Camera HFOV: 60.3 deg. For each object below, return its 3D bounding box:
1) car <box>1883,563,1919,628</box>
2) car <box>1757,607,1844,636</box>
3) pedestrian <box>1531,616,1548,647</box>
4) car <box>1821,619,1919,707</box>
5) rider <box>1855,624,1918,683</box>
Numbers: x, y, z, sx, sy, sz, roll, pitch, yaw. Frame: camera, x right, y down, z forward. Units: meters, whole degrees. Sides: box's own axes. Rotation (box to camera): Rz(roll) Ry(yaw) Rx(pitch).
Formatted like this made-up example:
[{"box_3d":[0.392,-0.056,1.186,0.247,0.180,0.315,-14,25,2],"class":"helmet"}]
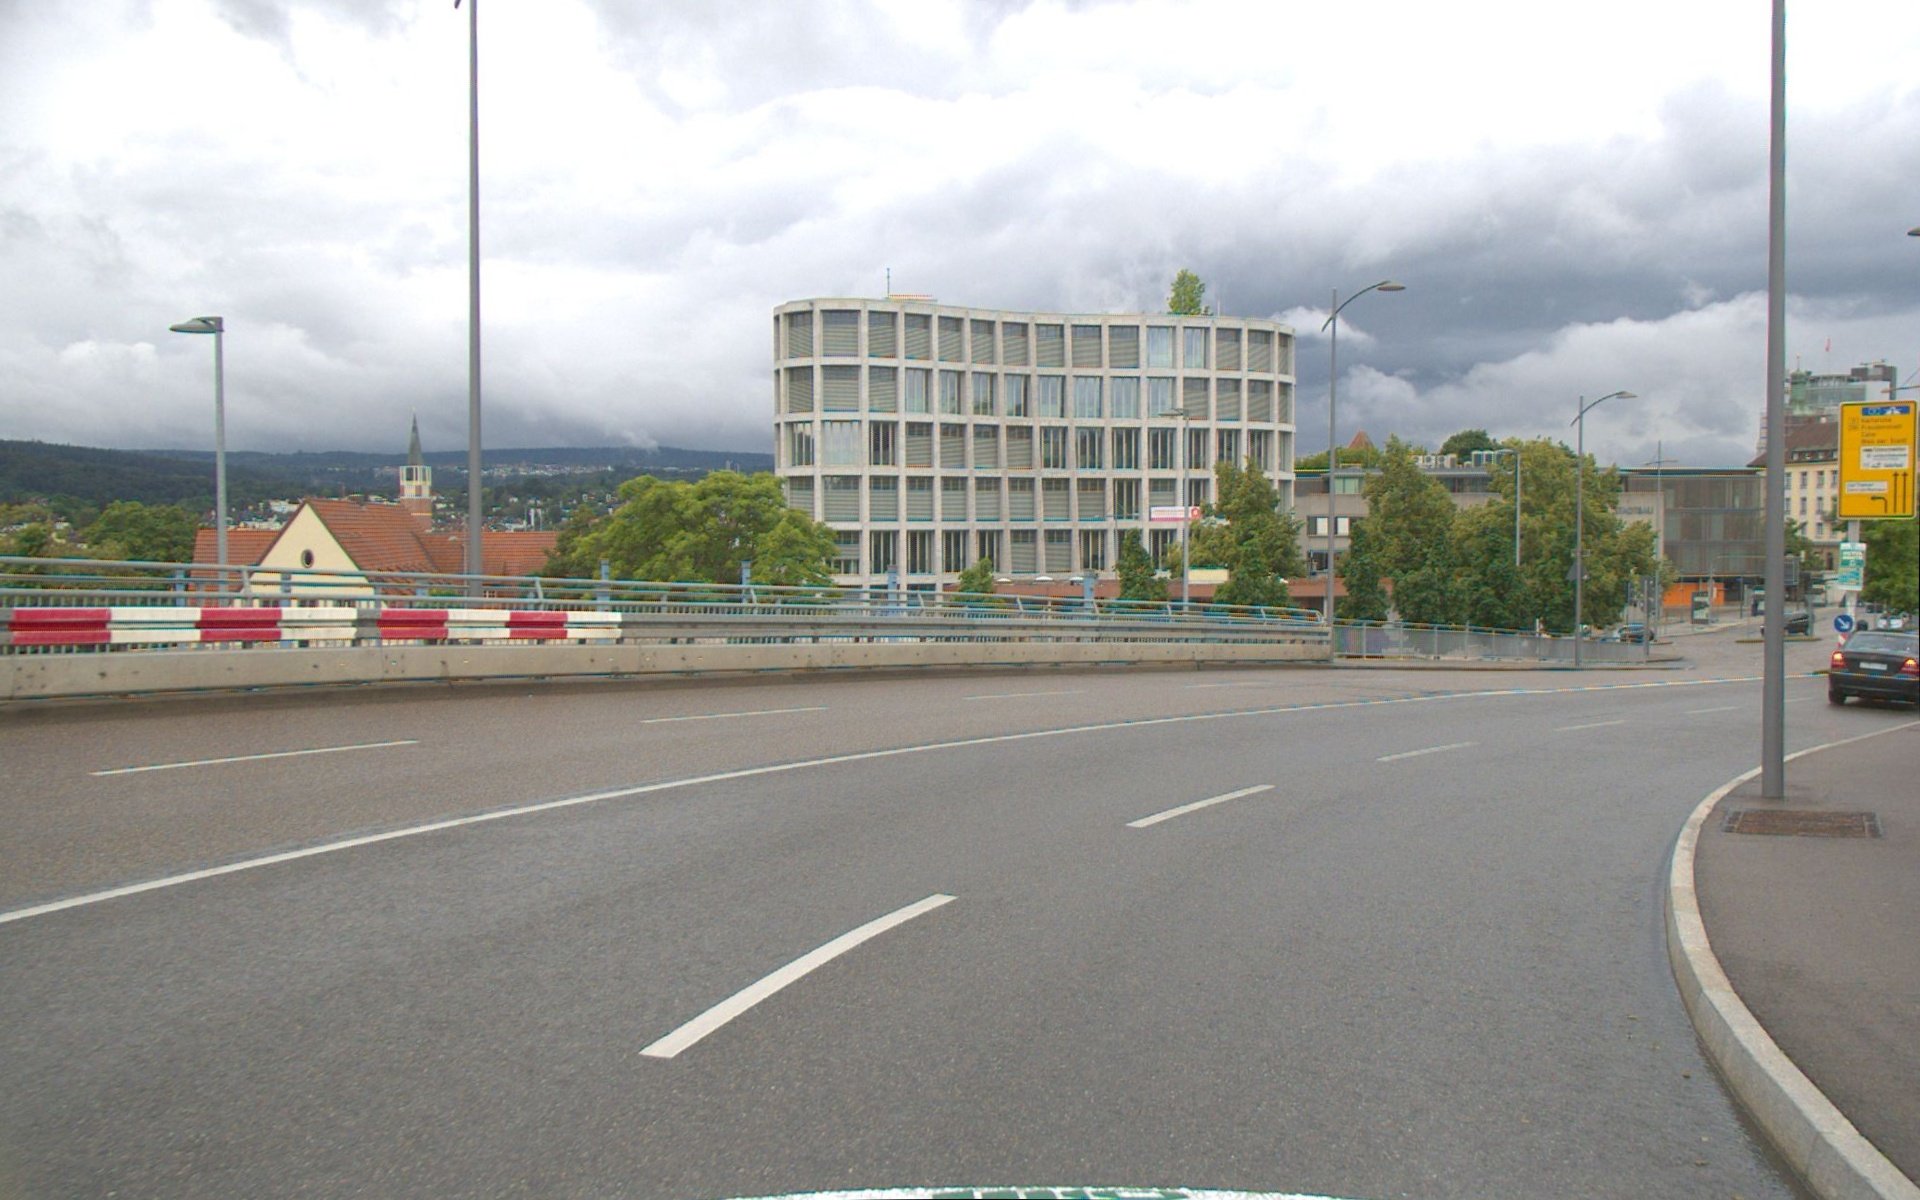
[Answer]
[{"box_3d":[31.944,-0.108,54.412,1.964,2.041,3.979,4,2,40],"class":"car"},{"box_3d":[61.824,1.549,121.743,5.502,2.049,1.998,0,1,-6],"class":"car"},{"box_3d":[28.156,1.521,80.348,0.639,1.433,0.527,1,2,42],"class":"pedestrian"},{"box_3d":[17.772,1.145,31.354,1.681,1.444,3.703,3,2,42],"class":"car"},{"box_3d":[25.016,1.422,44.637,0.869,1.497,2.180,4,2,45],"class":"rider"}]
